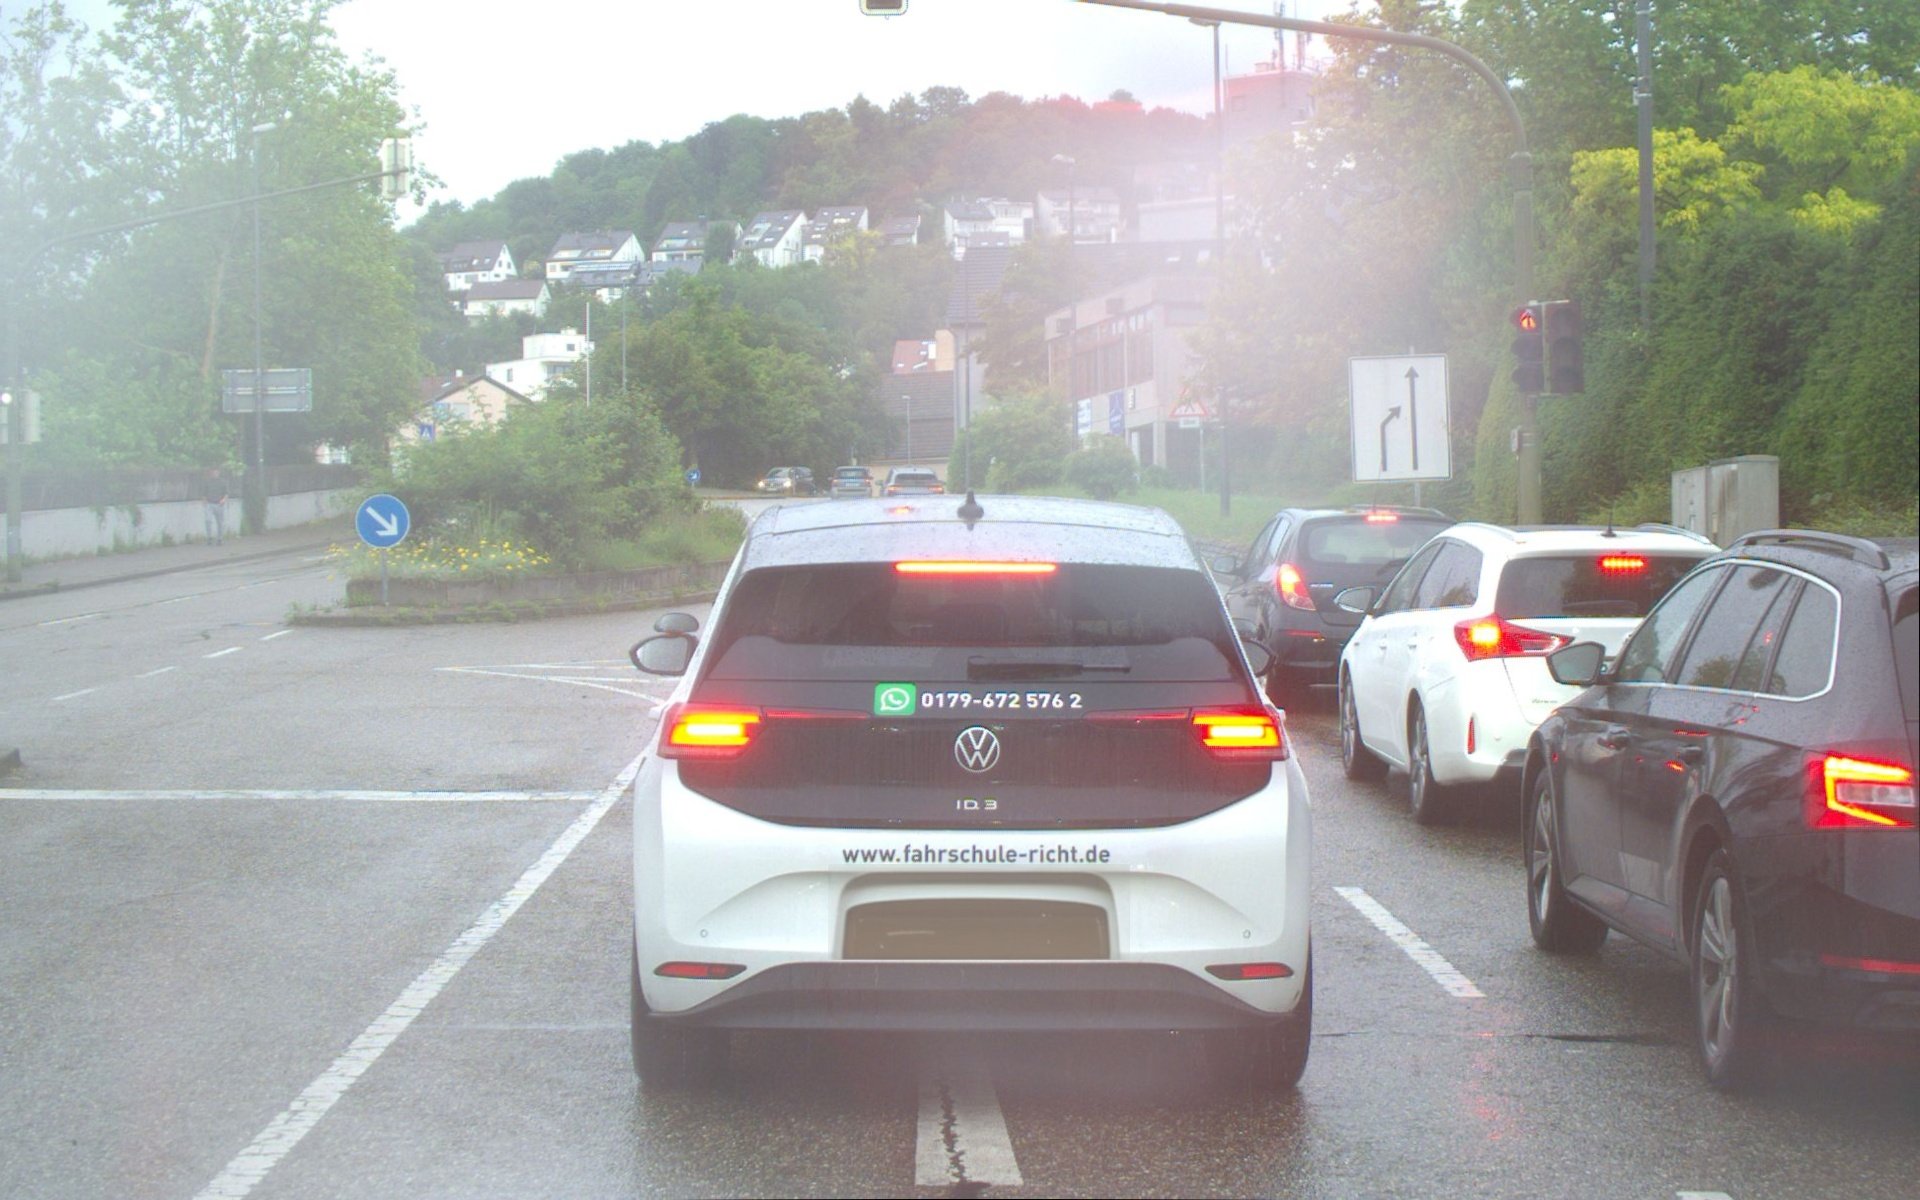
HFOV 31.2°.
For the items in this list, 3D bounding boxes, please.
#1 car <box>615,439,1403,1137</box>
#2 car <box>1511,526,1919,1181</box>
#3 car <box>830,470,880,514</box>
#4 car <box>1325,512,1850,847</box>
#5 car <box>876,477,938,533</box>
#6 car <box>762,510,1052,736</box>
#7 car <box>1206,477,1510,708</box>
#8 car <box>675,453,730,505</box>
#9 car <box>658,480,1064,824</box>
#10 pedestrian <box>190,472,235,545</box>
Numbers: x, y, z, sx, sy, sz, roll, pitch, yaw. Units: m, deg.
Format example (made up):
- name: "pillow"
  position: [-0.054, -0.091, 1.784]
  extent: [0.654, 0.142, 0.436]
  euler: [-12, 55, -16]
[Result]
- name: "car"
  position: [0.072, 0.378, 10.470]
  extent: [1.837, 1.623, 4.616]
  euler: [1, 2, -1]
- name: "car"
  position: [2.865, 0.555, 10.056]
  extent: [1.838, 1.461, 4.350]
  euler: [1, 2, 1]
- name: "car"
  position: [-4.028, -4.162, 132.845]
  extent: [1.775, 1.575, 4.000]
  euler: [-2, 1, 0]
- name: "car"
  position: [3.064, 0.309, 17.654]
  extent: [1.837, 1.461, 4.117]
  euler: [1, 2, -1]
- name: "car"
  position: [-1.564, -2.846, 103.514]
  extent: [1.775, 1.575, 4.000]
  euler: [-2, 1, 0]
- name: "car"
  position: [-0.380, 0.101, 24.061]
  extent: [1.837, 1.395, 3.831]
  euler: [1, 2, -1]
- name: "car"
  position: [2.916, -0.093, 25.933]
  extent: [1.775, 1.576, 4.000]
  euler: [1, 1, 0]
- name: "car"
  position: [-10.690, -5.021, 142.901]
  extent: [1.993, 2.007, 4.000]
  euler: [1, 0, 0]
- name: "car"
  position: [-0.497, 0.176, 17.917]
  extent: [1.837, 1.549, 4.175]
  euler: [1, 2, -1]
- name: "pedestrian"
  position: [-16.412, -2.016, 75.475]
  extent: [0.760, 1.562, 0.825]
  euler: [-2, 1, -1]
